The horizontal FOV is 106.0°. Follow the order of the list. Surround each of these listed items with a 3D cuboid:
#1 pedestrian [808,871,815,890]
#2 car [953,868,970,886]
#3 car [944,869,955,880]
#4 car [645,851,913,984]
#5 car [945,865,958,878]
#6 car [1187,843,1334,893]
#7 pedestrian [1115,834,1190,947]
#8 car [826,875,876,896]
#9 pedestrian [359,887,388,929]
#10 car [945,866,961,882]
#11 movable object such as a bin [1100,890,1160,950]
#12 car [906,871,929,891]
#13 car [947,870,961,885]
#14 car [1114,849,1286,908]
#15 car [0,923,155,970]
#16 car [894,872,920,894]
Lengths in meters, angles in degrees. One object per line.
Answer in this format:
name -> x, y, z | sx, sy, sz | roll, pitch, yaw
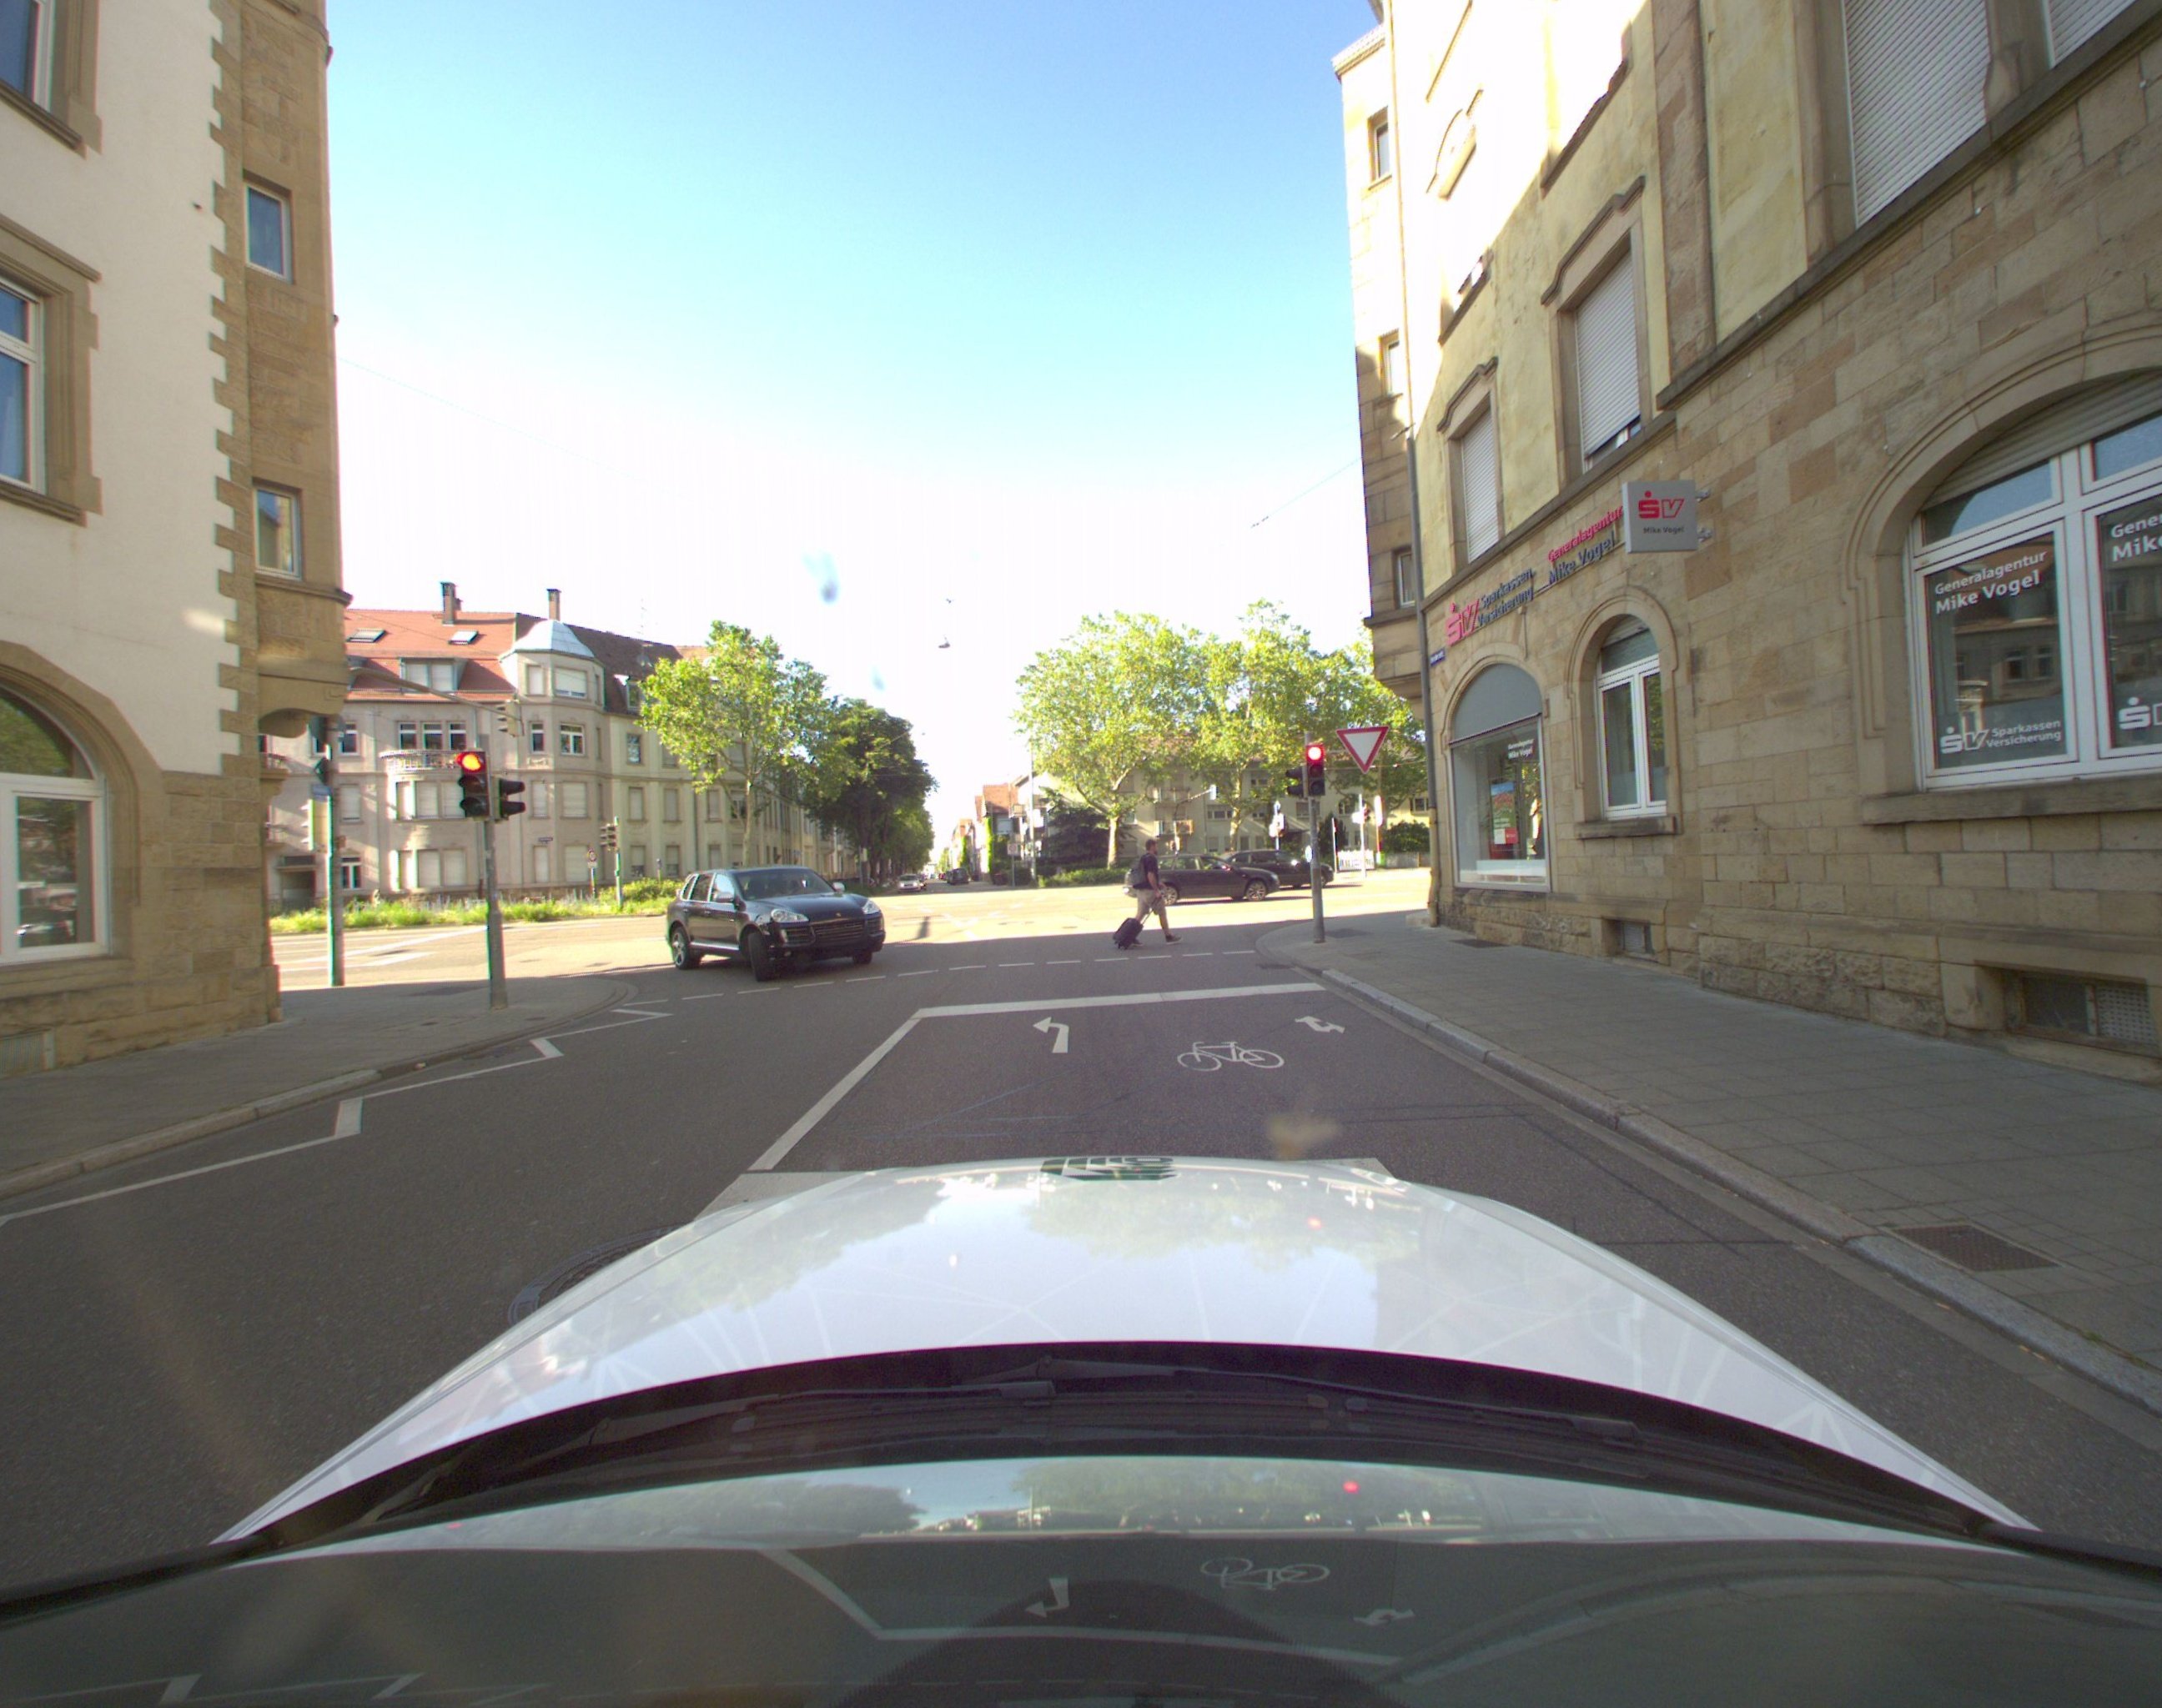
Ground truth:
pedestrian -> -21.496, 2.116, 65.016 | 0.489, 1.442, 0.702 | 0, -1, -13
car -> -13.953, 2.700, 95.022 | 1.773, 1.918, 3.522 | -4, 0, -10
car -> -23.749, 3.710, 147.193 | 1.773, 1.918, 3.522 | -4, 0, -10
car -> -5.098, 0.980, 13.393 | 4.648, 1.693, 2.093 | -4, 1, 42
car -> -20.507, 2.799, 128.590 | 1.993, 2.014, 3.987 | 0, -1, -9
car -> 6.289, 0.483, 28.725 | 4.620, 1.456, 1.974 | -3, 0, -11
pedestrian -> 1.220, 0.605, 14.023 | 1.066, 1.848, 0.746 | -2, -1, -11
car -> -17.951, 2.468, 63.722 | 3.636, 1.457, 1.650 | -2, 0, -14
pedestrian -> -35.324, 2.689, 40.672 | 0.836, 2.014, 0.749 | 0, -1, -15
car -> -16.564, 2.553, 105.211 | 1.773, 1.918, 3.522 | -4, 0, -10
movable object such as a bin -> 0.803, 1.076, 13.455 | 0.862, 0.892, 0.507 | -3, 0, -11
car -> -14.020, 2.321, 69.880 | 1.698, 1.483, 3.522 | -4, 0, -10
car -> -18.137, 3.285, 116.270 | 1.993, 2.014, 3.987 | 0, -1, -9
car -> 3.415, 0.674, 23.722 | 4.617, 1.456, 1.724 | -2, 0, -10
car -> -40.334, 3.666, 32.165 | 4.620, 1.456, 1.974 | -3, 0, -11
car -> -13.594, 2.265, 63.825 | 1.698, 1.483, 3.522 | -4, 0, -10
